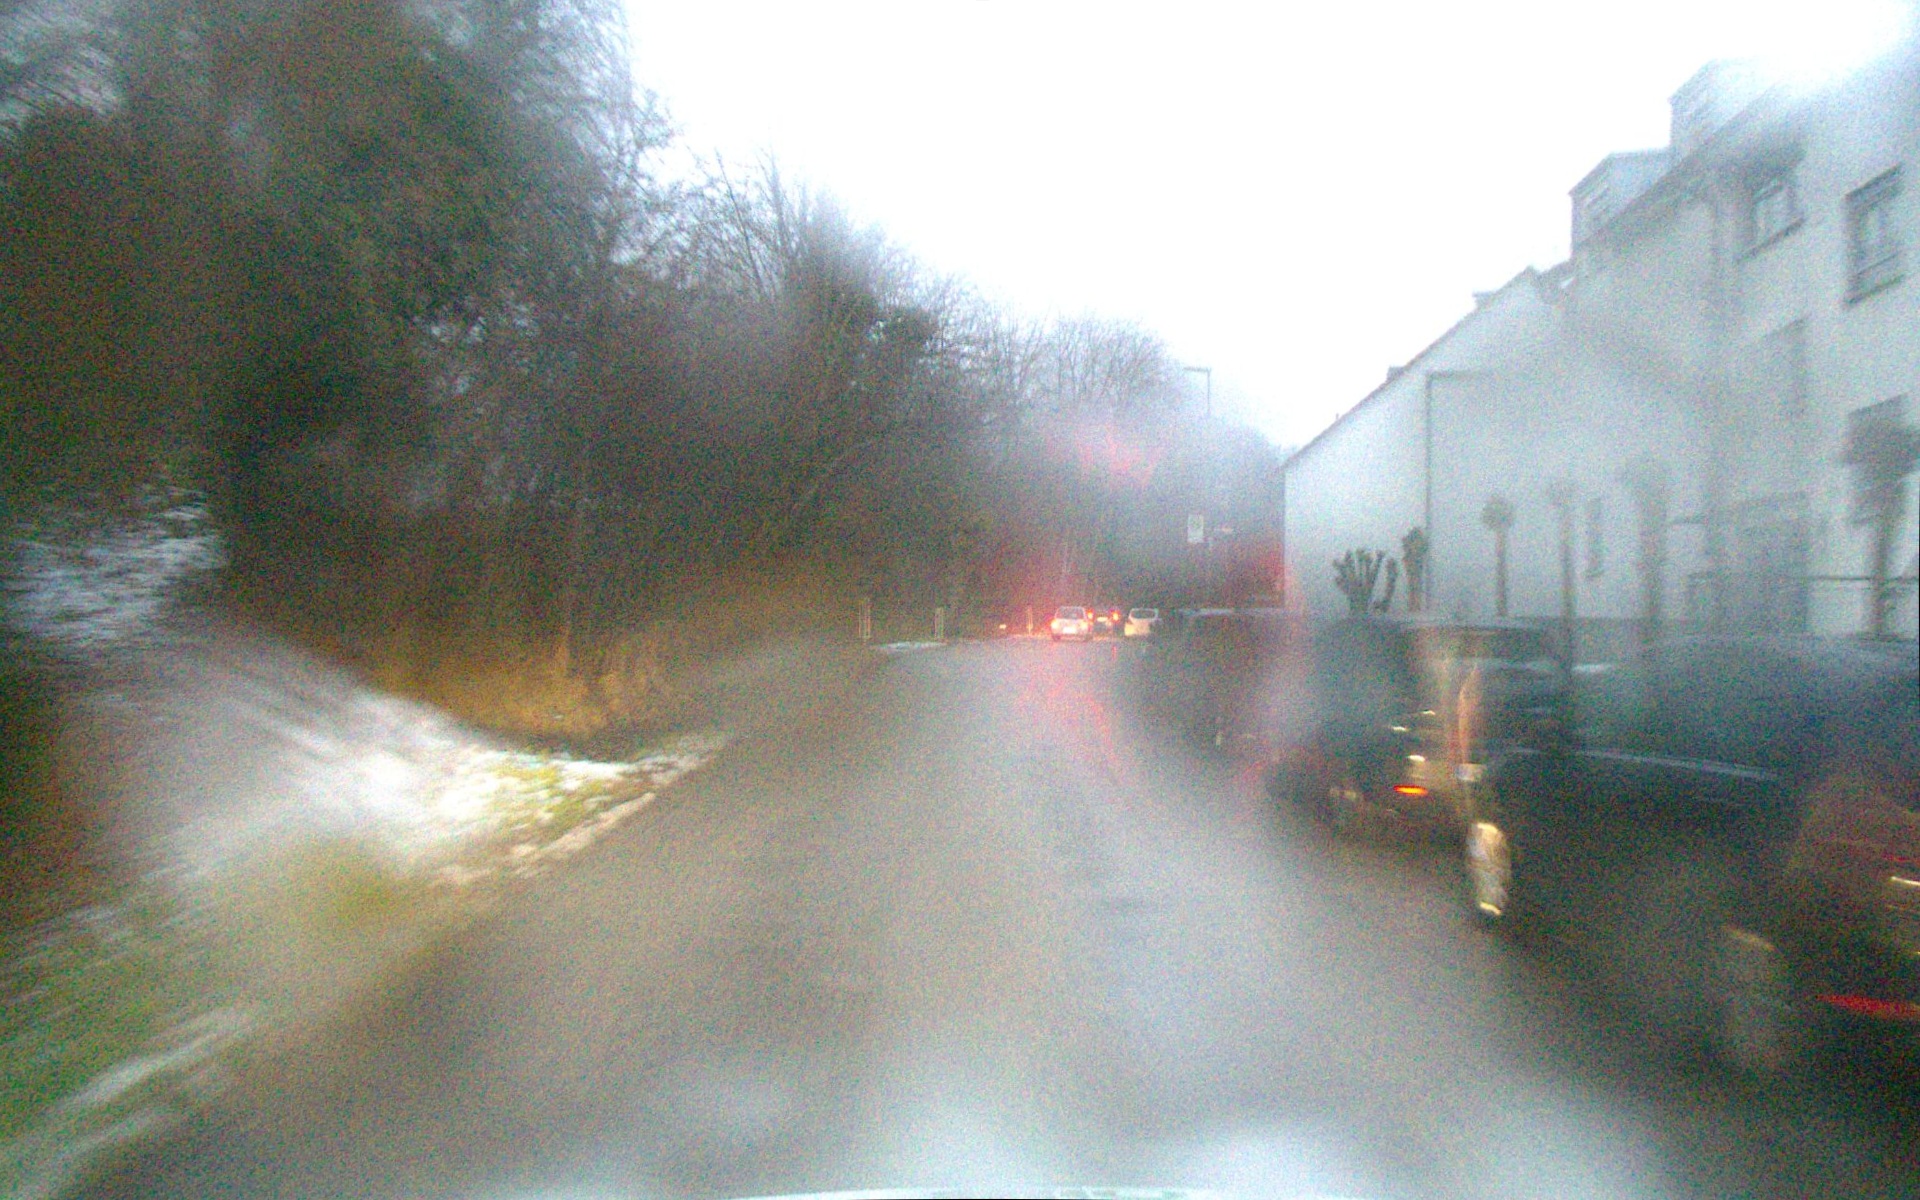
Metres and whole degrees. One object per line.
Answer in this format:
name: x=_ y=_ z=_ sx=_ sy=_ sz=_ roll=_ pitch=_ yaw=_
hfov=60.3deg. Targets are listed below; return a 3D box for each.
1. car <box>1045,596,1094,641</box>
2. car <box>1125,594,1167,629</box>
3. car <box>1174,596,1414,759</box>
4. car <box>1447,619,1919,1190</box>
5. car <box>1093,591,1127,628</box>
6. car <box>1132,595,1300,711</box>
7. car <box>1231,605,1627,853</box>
car: x=4.581 y=0.732 z=69.449 sx=1.893 sy=1.812 sz=4.001 roll=-1 pitch=0 yaw=2
car: x=8.569 y=0.545 z=76.078 sx=1.667 sy=1.532 sz=4.028 roll=1 pitch=0 yaw=10
car: x=3.376 y=0.723 z=17.558 sx=1.621 sy=1.454 sz=4.564 roll=2 pitch=0 yaw=0
car: x=3.273 y=0.806 z=6.321 sx=1.621 sy=1.414 sz=4.123 roll=-1 pitch=0 yaw=0
car: x=7.497 y=0.463 z=82.665 sx=1.654 sy=1.805 sz=3.863 roll=-1 pitch=0 yaw=5
car: x=3.545 y=0.694 z=23.624 sx=1.702 sy=1.454 sz=4.457 roll=2 pitch=0 yaw=0
car: x=3.087 y=0.755 z=11.846 sx=1.621 sy=1.414 sz=4.533 roll=-1 pitch=0 yaw=1
